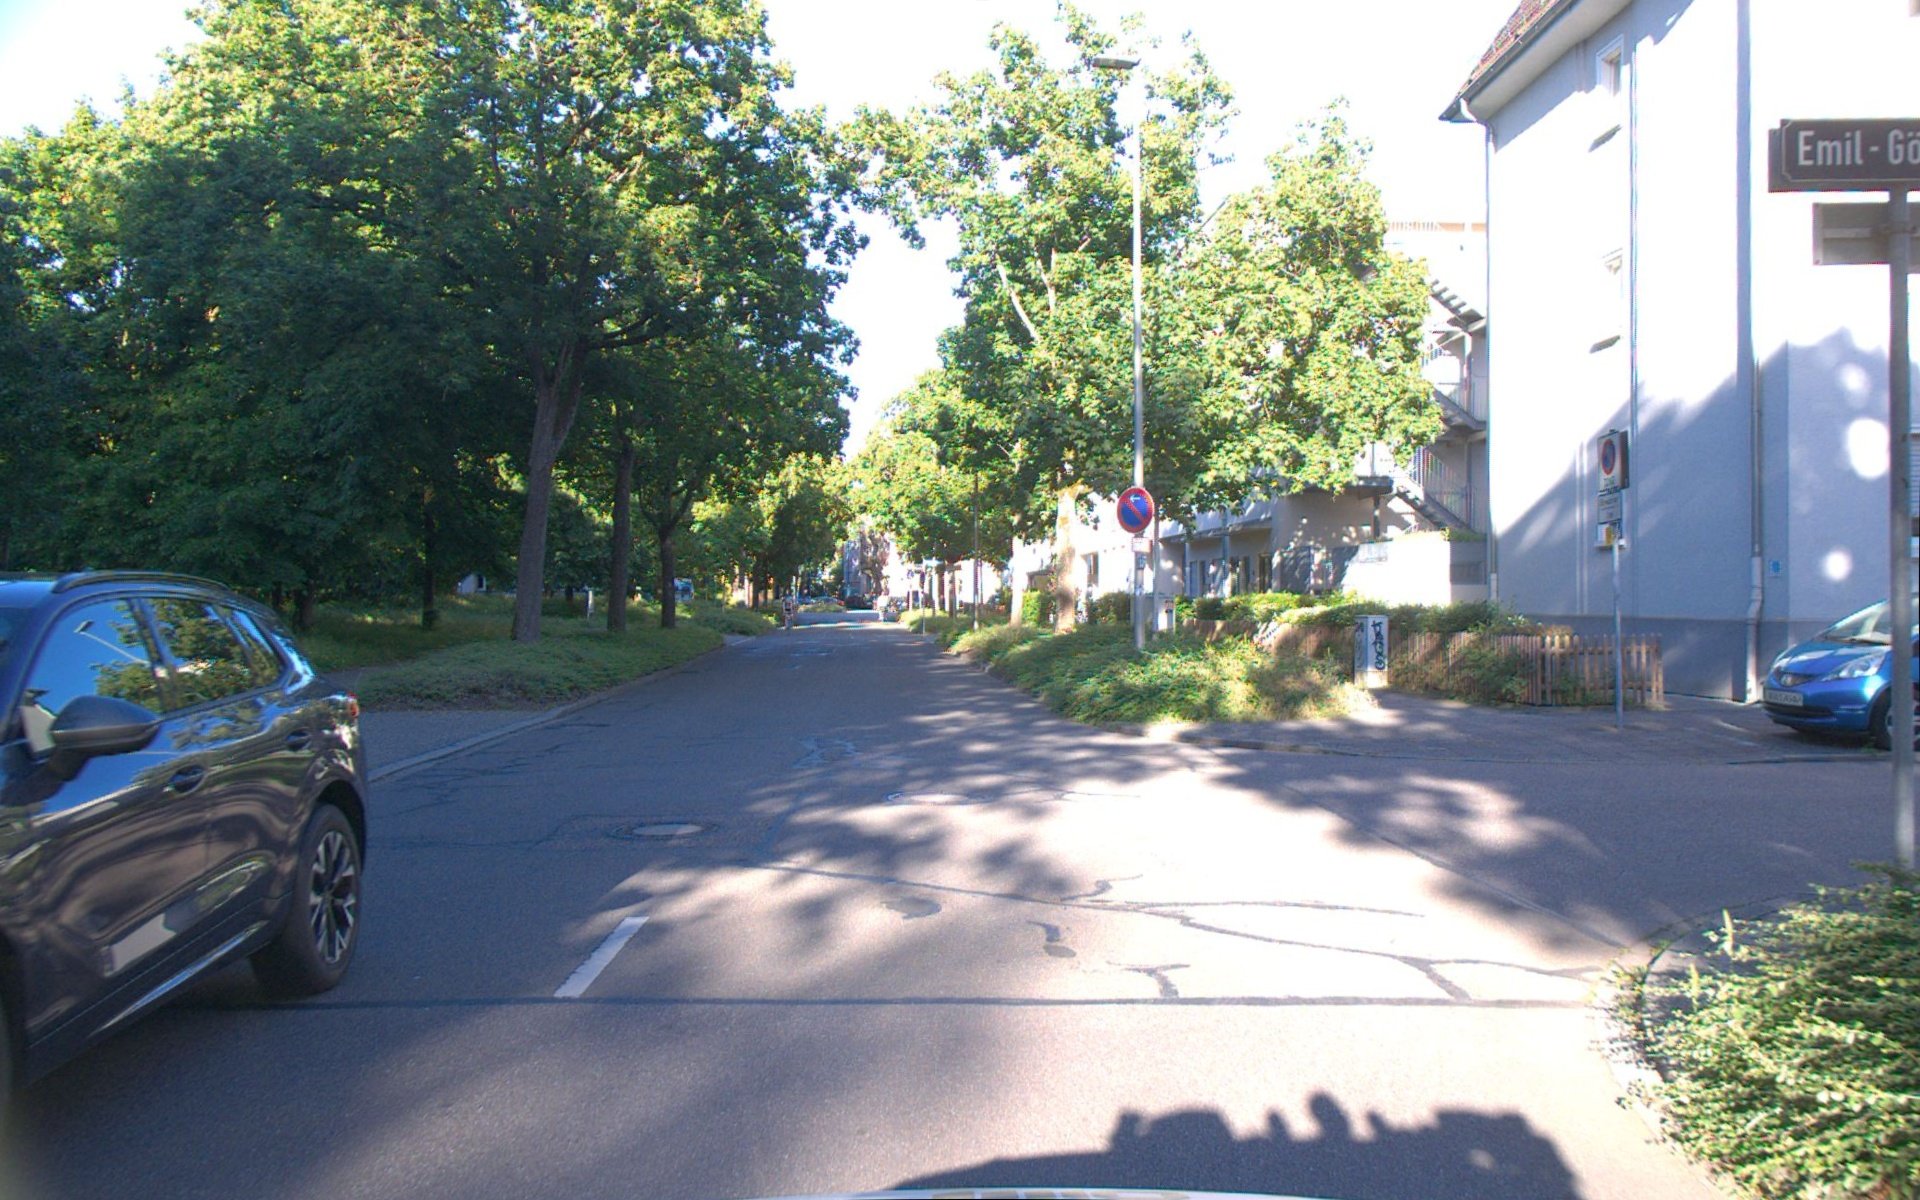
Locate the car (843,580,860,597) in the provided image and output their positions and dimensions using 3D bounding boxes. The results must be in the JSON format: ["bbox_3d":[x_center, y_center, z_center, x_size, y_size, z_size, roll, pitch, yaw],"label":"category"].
[{"bbox_3d":[-13.322,-1.394,202.704,1.777,2.086,3.994,1,0,-7],"label":"car"}]

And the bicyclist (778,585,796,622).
[{"bbox_3d":[-7.407,0.139,70.998,0.620,1.582,1.002,-2,0,0],"label":"bicyclist"}]

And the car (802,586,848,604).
[{"bbox_3d":[-12.019,-0.429,147.044,3.916,1.527,1.812,1,0,-12],"label":"car"}]

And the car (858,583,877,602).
[{"bbox_3d":[-9.977,-0.813,178.012,1.777,1.959,3.994,1,0,-7],"label":"car"}]

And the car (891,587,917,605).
[{"bbox_3d":[-5.100,-0.368,149.648,1.779,1.527,3.989,0,1,-11],"label":"car"}]

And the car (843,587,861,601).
[{"bbox_3d":[-12.565,-0.689,192.530,1.777,1.527,3.994,1,0,-7],"label":"car"}]

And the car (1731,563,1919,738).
[{"bbox_3d":[9.972,0.442,16.328,3.908,1.609,1.808,0,1,-4],"label":"car"}]

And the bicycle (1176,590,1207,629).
[{"bbox_3d":[7.202,0.287,51.466,0.605,1.212,1.752,1,0,-4],"label":"bicycle"}]

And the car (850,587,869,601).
[{"bbox_3d":[-11.313,-0.654,186.070,1.777,1.527,3.994,1,0,-7],"label":"car"}]

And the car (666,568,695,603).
[{"bbox_3d":[-21.147,-1.070,124.993,1.959,2.552,3.988,1,0,-12],"label":"car"}]

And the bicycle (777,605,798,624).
[{"bbox_3d":[-7.393,0.627,71.007,0.626,0.755,2.126,-2,0,0],"label":"bicycle"}]

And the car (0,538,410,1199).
[{"bbox_3d":[-3.226,0.670,4.967,1.807,1.606,4.334,-2,1,-2],"label":"car"}]
